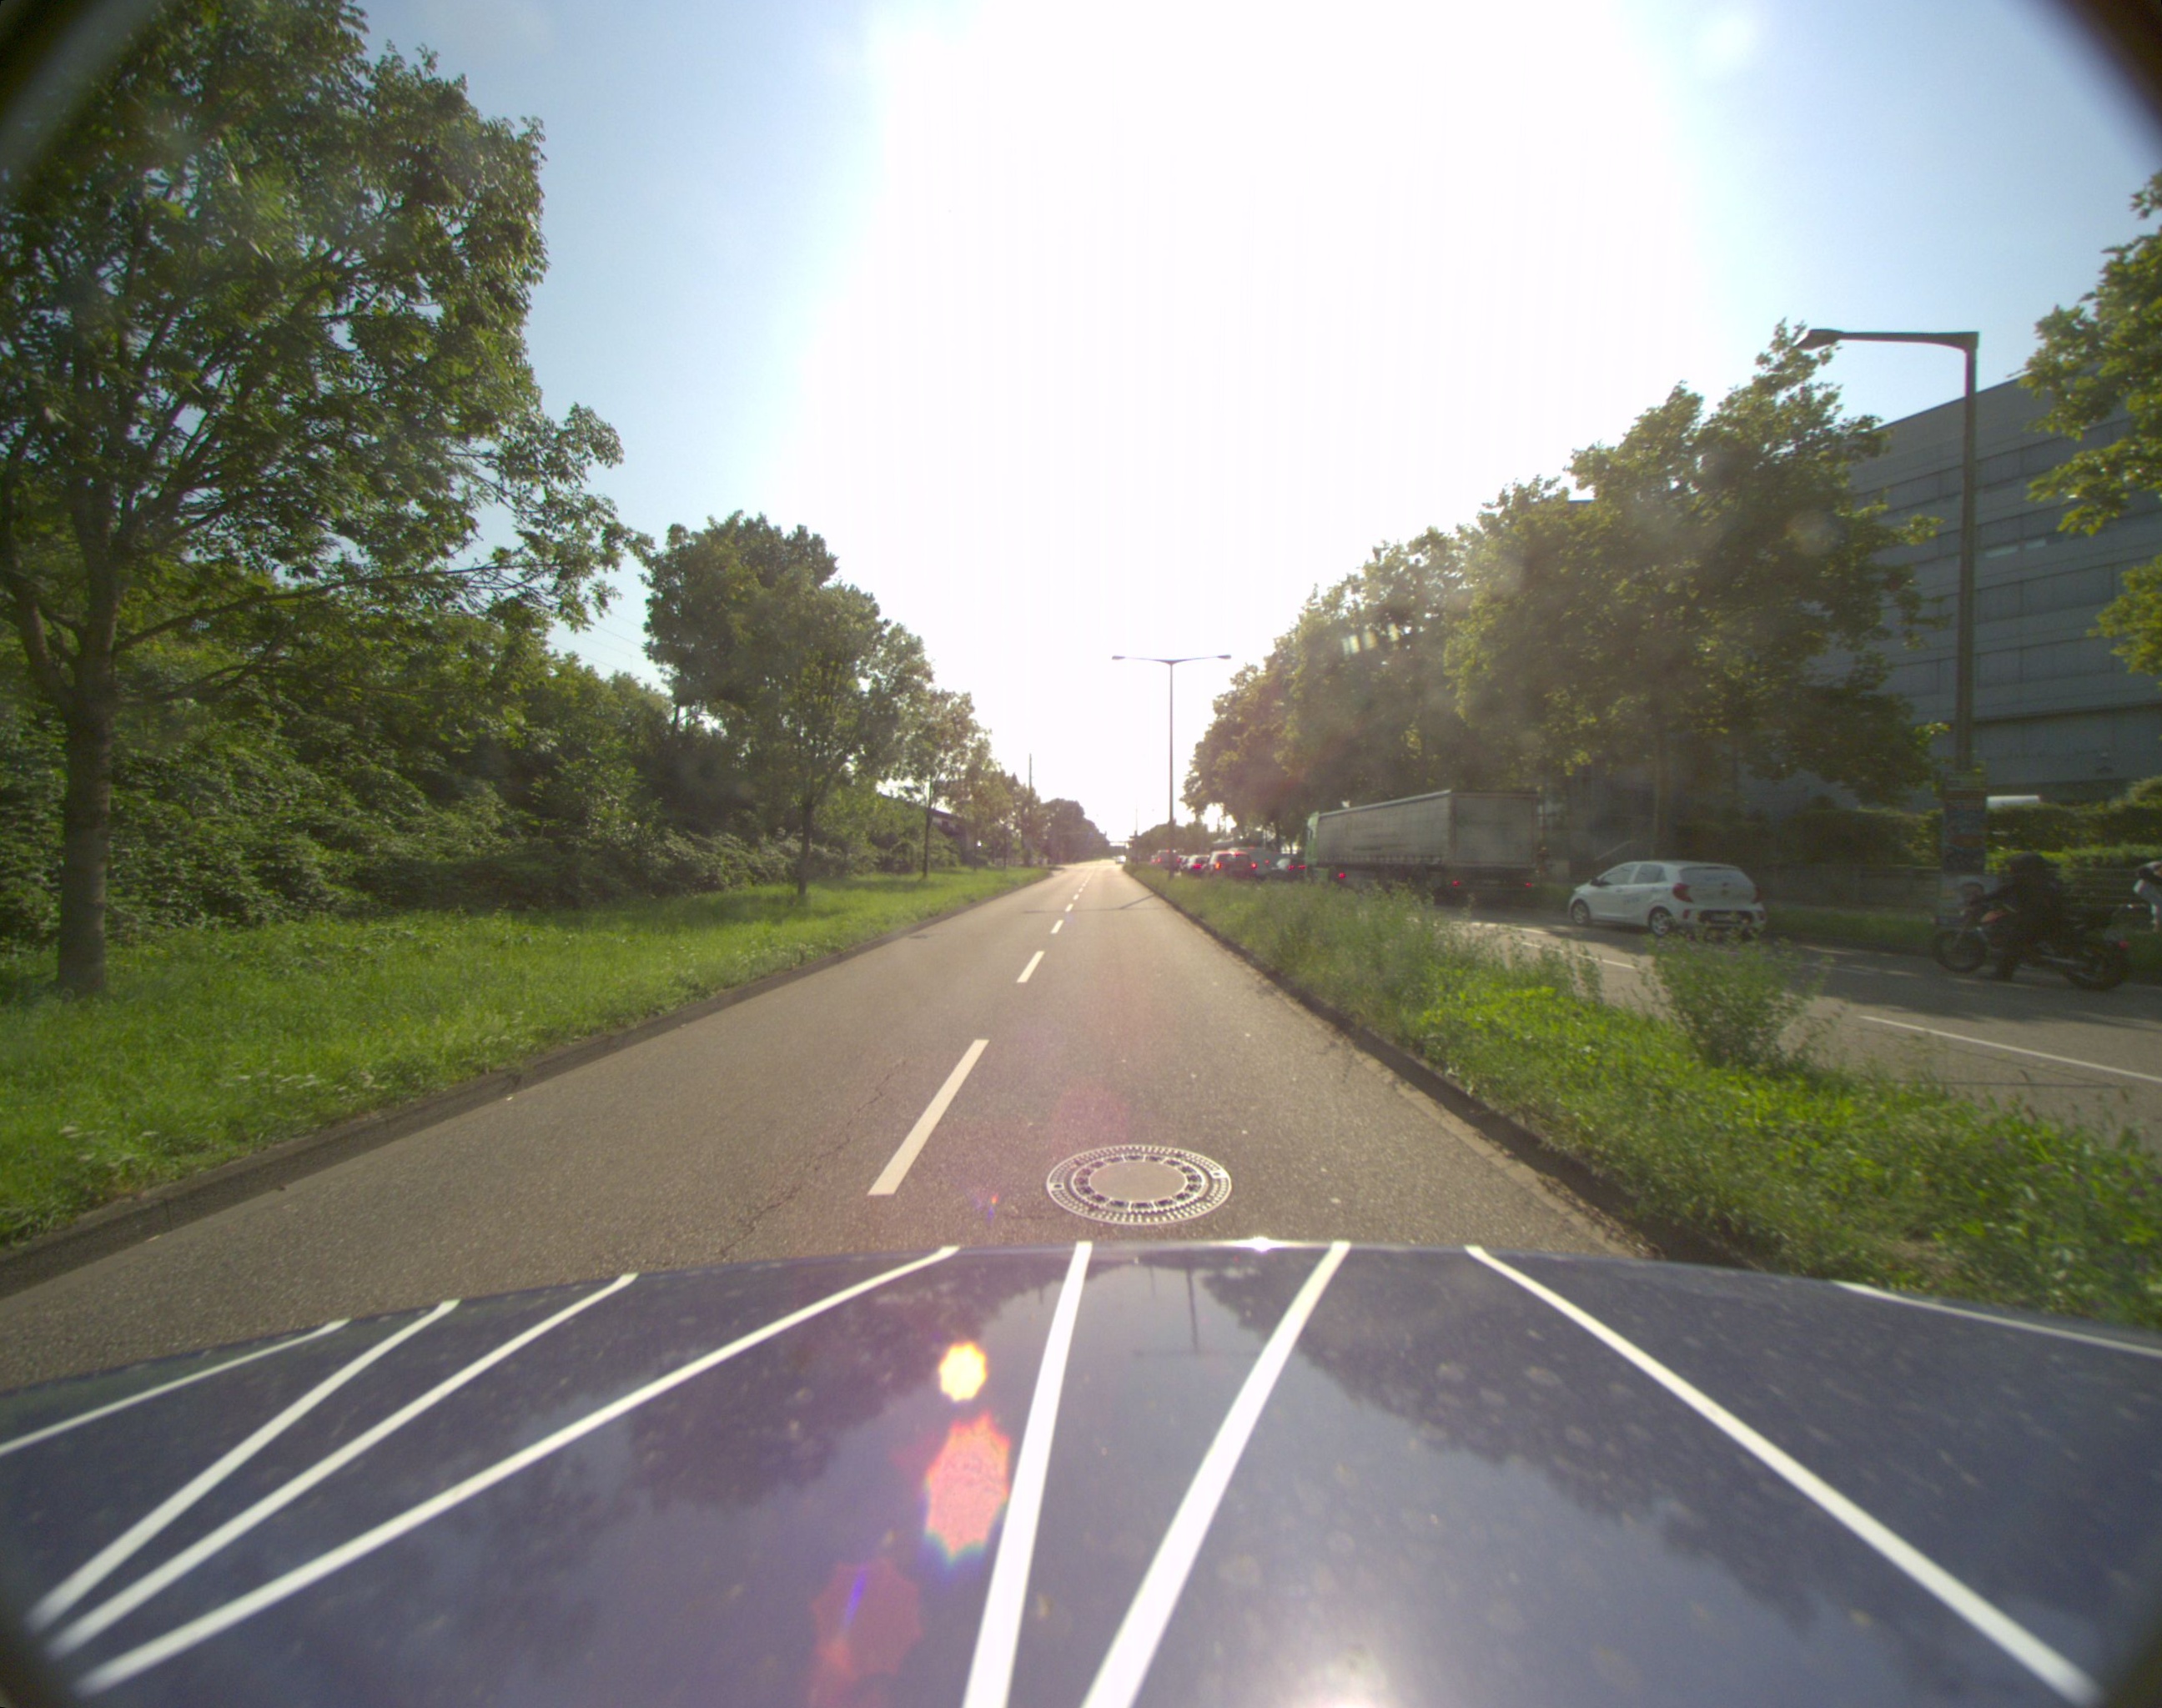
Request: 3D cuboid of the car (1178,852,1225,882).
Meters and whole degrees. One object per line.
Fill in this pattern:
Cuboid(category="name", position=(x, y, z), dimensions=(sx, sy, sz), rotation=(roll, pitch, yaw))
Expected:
Cuboid(category="car", position=(6.336, 0.643, 40.493), dimensions=(1.751, 1.471, 4.586), rotation=(1, 0, 0))

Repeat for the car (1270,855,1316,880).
Cuboid(category="car", position=(13.029, 0.793, 46.883), dimensions=(1.651, 1.403, 4.480), rotation=(1, 0, 1))

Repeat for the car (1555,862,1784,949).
Cuboid(category="car", position=(11.608, 0.930, 15.367), dimensions=(1.750, 1.471, 3.831), rotation=(1, 0, 3))

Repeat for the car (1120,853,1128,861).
Cuboid(category="car", position=(8.243, 0.637, 145.576), dimensions=(1.544, 1.433, 3.397), rotation=(0, -1, 5))

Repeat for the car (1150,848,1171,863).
Cuboid(category="car", position=(7.814, 0.157, 74.572), dimensions=(1.713, 1.394, 4.084), rotation=(1, 0, 2))

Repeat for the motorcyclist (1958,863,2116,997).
Cuboid(category="motorcyclist", position=(11.692, 0.897, 9.332), dimensions=(0.779, 1.545, 0.922), rotation=(-1, 1, 2))

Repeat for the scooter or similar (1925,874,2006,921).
Cuboid(category="scooter or similar", position=(22.724, 1.091, 19.556), dimensions=(0.510, 1.121, 1.381), rotation=(-1, 1, 3))

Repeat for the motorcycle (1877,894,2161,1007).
Cuboid(category="motorcycle", position=(11.706, 1.127, 9.592), dimensions=(0.796, 1.100, 2.468), rotation=(-1, 0, 3))

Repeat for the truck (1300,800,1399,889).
Cuboid(category="truck", position=(12.456, -0.446, 35.818), dimensions=(2.614, 3.797, 5.891), rotation=(1, 1, 1))

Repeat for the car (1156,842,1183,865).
Cuboid(category="car", position=(7.769, -0.024, 66.931), dimensions=(1.916, 1.853, 4.890), rotation=(1, 0, 1))

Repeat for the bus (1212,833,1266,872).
Cuboid(category="bus", position=(13.765, -0.150, 67.039), dimensions=(2.596, 3.061, 12.313), rotation=(-1, 0, 2))

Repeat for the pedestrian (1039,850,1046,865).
Cuboid(category="pedestrian", position=(-4.211, 0.403, 83.185), dimensions=(0.570, 1.672, 0.493), rotation=(0, 1, 34))

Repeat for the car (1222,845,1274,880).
Cuboid(category="car", position=(9.611, 0.462, 44.205), dimensions=(1.998, 1.942, 5.036), rotation=(0, 0, 1))

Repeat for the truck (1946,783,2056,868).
Cuboid(category="truck", position=(34.089, -1.004, 28.102), dimensions=(5.915, 2.844, 2.233), rotation=(-1, 1, -36))

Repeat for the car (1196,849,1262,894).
Cuboid(category="car", position=(6.051, 0.676, 31.630), dimensions=(1.958, 1.714, 4.587), rotation=(0, 0, 2))

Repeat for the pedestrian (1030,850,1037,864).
Cuboid(category="pedestrian", position=(-5.209, 0.343, 83.616), dimensions=(0.573, 1.558, 0.535), rotation=(-2, 2, -39))

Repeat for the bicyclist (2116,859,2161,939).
Cuboid(category="bicyclist", position=(19.904, 0.818, 13.944), dimensions=(0.649, 1.431, 0.840), rotation=(0, 1, 1))

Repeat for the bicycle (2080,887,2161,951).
Cuboid(category="bicycle", position=(19.890, 1.201, 13.975), dimensions=(0.649, 1.101, 1.800), rotation=(0, 0, 1))

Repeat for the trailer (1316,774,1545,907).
Cuboid(category="trailer", position=(12.274, -0.426, 28.970), dimensions=(2.639, 3.799, 13.812), rotation=(1, 0, 2))
